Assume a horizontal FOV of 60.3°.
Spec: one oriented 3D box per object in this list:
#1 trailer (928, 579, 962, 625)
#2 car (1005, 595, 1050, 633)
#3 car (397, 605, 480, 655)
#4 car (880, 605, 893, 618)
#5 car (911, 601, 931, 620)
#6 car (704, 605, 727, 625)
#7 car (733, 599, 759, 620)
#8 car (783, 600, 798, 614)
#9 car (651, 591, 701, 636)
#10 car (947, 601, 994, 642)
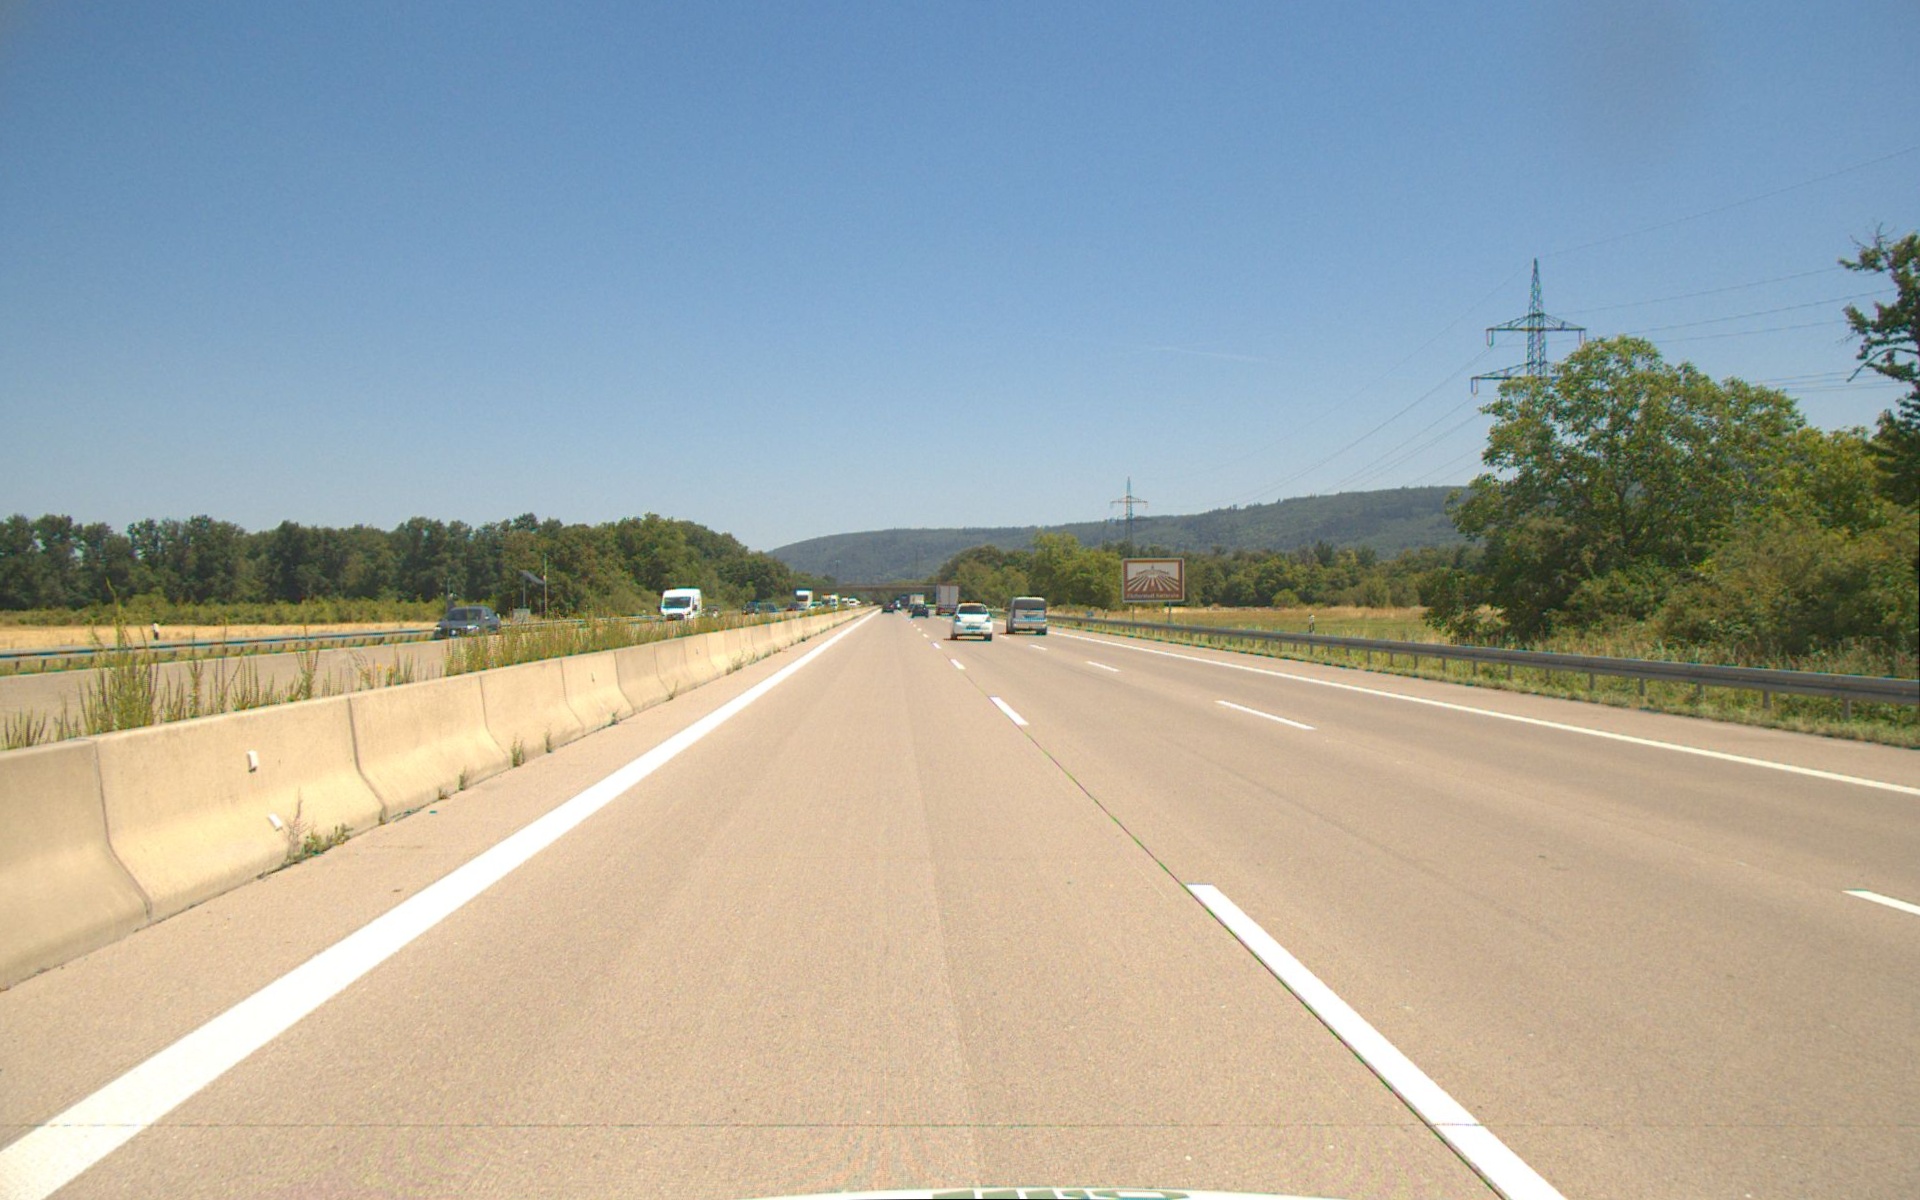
[{"bbox_3d":[-2.028,0.215,219.378,3.647,5.913,12.152,1,0,-4],"label":"trailer"},{"bbox_3d":[3.478,0.711,86.089,1.954,1.881,3.998,2,0,-3],"label":"car"},{"bbox_3d":[-19.222,1.080,61.172,1.719,1.713,4.839,1,0,-3],"label":"car"},{"bbox_3d":[-10.509,1.609,236.251,1.890,1.825,3.997,1,0,-3],"label":"car"},{"bbox_3d":[-4.134,1.112,174.698,1.954,1.881,3.997,3,0,-4],"label":"car"},{"bbox_3d":[-23.545,1.463,159.324,1.955,1.814,3.995,1,0,-6],"label":"car"},{"bbox_3d":[-20.471,0.900,158.538,1.953,1.948,4.401,1,0,-1],"label":"car"},{"bbox_3d":[-23.651,0.986,230.928,1.955,1.870,4.811,1,0,-5],"label":"car"},{"bbox_3d":[-17.189,0.800,100.225,2.168,2.564,6.121,1,0,-3],"label":"car"},{"bbox_3d":[0.422,0.892,70.166,1.783,1.691,3.998,0,0,-3],"label":"car"}]
